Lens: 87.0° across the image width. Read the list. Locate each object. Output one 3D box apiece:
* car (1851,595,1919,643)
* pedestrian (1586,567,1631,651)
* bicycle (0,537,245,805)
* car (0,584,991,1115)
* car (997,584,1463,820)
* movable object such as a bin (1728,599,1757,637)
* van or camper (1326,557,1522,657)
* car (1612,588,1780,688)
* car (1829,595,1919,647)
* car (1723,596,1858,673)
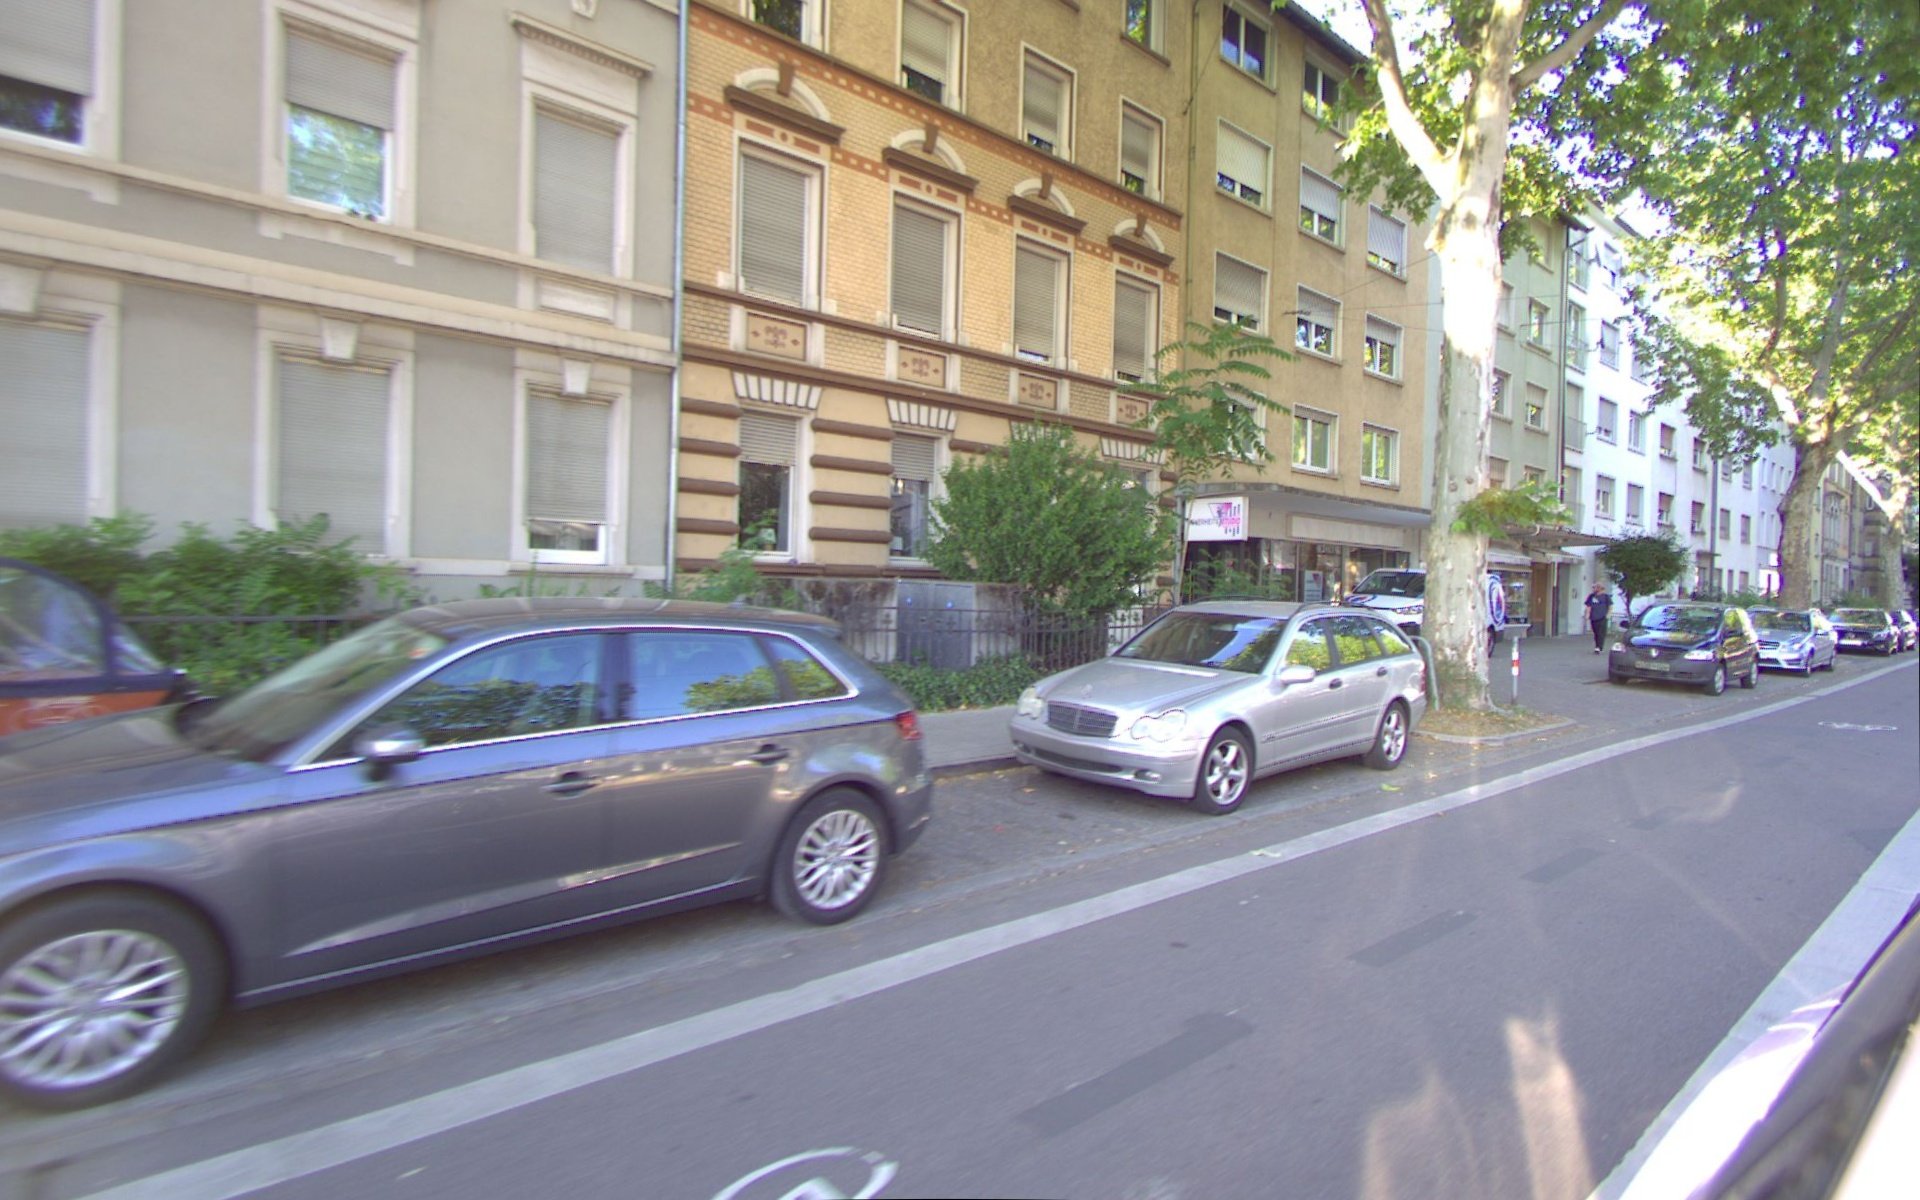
[{"bbox_3d":[32.381,0.611,35.051,4.288,1.432,1.712,0,4,-42],"label":"car"},{"bbox_3d":[16.188,0.213,25.278,0.995,2.039,0.683,0,1,-42],"label":"pedestrian"},{"bbox_3d":[-5.448,0.387,5.637,2.354,1.445,0.608,0,-1,-41],"label":"bicycle"},{"bbox_3d":[-2.018,0.668,4.361,4.245,1.414,1.714,0,1,-40],"label":"car"},{"bbox_3d":[2.494,0.631,8.561,4.494,1.469,1.676,0,1,-43],"label":"car"},{"bbox_3d":[25.270,0.566,32.683,0.655,1.173,0.616,0,1,-44],"label":"movable object such as a bin"},{"bbox_3d":[10.287,0.099,22.226,5.299,1.946,1.945,0,2,-42],"label":"van or camper"},{"bbox_3d":[13.334,0.602,18.252,3.931,1.564,1.656,0,2,-42],"label":"car"},{"bbox_3d":[28.835,0.596,31.803,4.288,1.432,1.712,0,4,-42],"label":"car"},{"bbox_3d":[19.117,0.708,23.210,4.695,1.562,1.697,0,1,-42],"label":"car"}]
